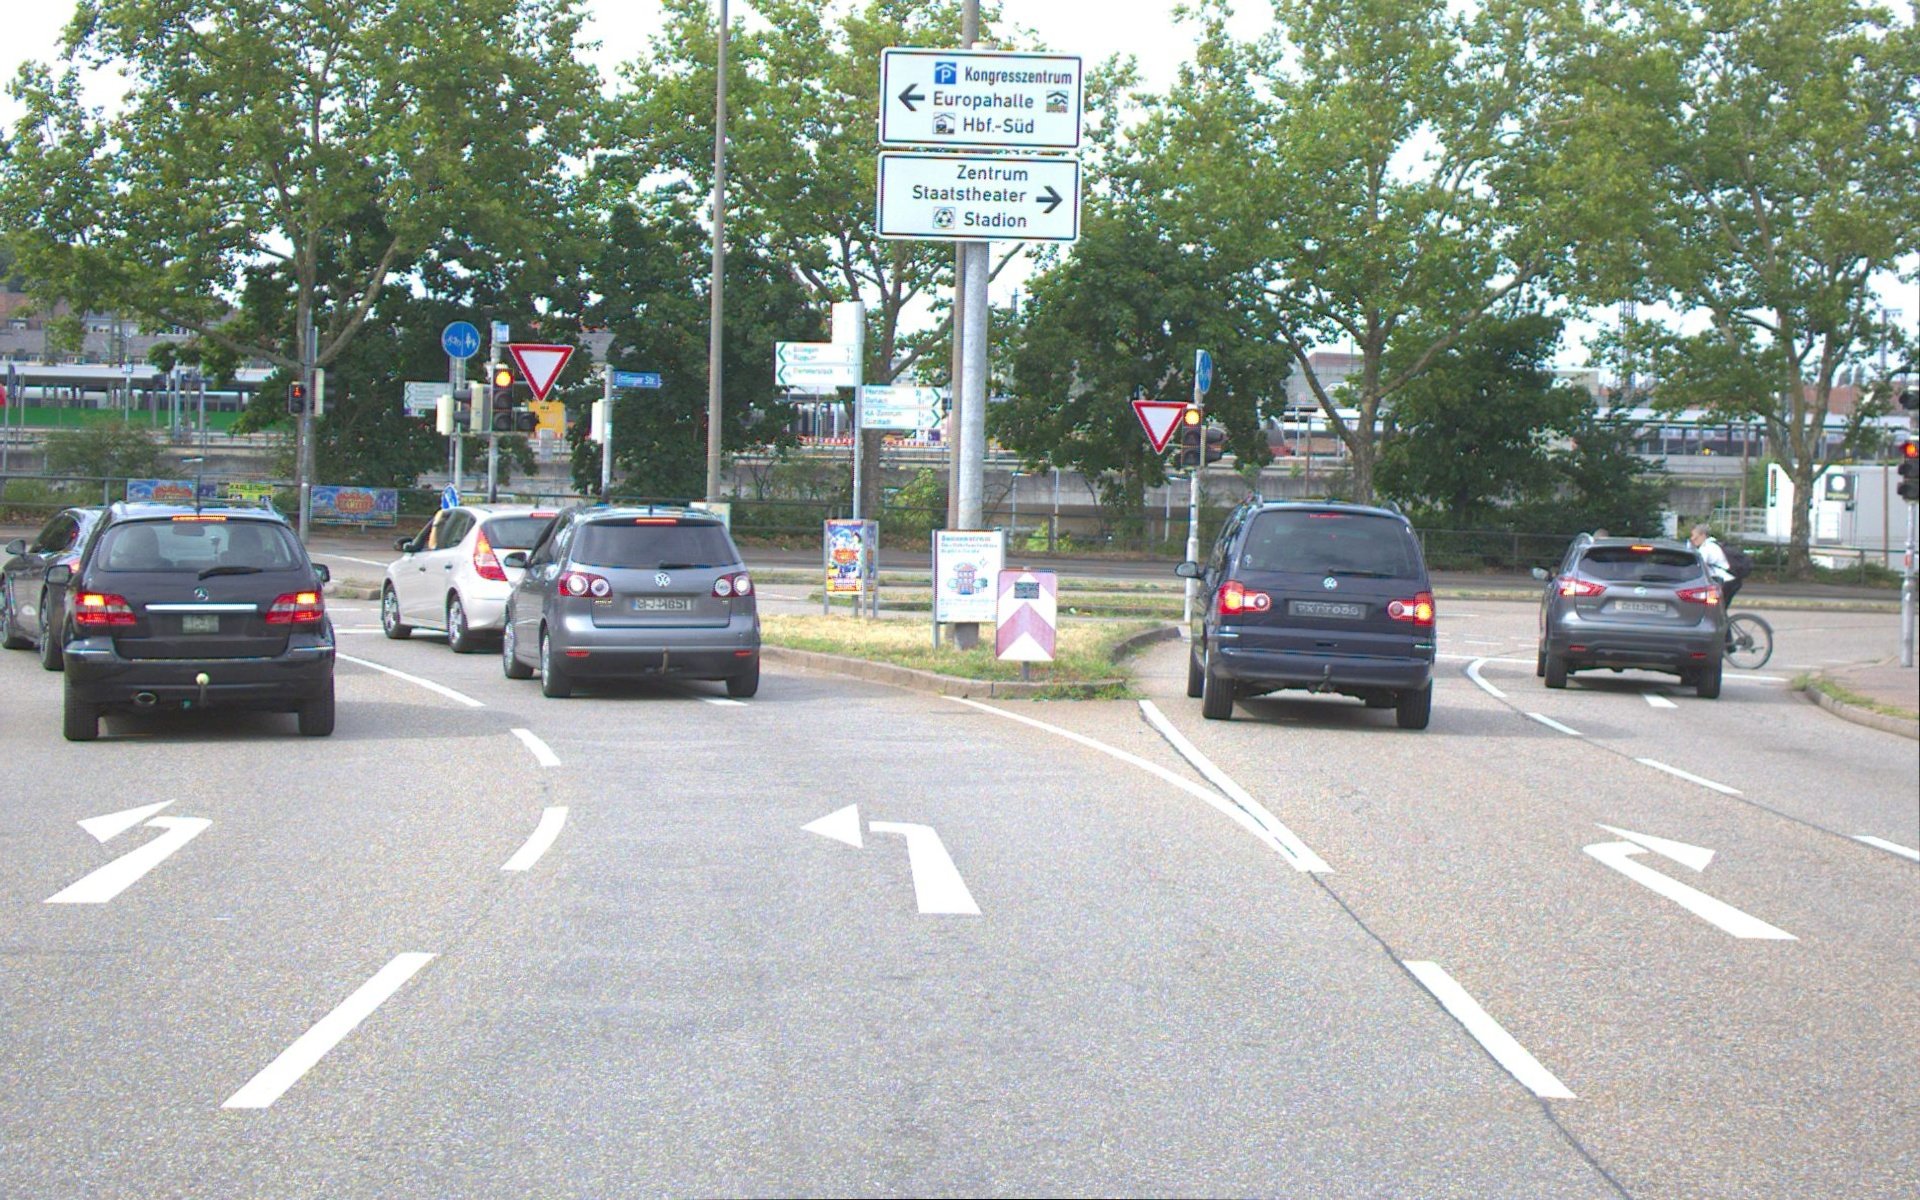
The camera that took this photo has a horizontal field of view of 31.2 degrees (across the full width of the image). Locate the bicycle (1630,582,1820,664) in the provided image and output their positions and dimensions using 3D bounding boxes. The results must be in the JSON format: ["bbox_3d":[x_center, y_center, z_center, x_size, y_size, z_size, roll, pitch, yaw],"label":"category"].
[{"bbox_3d":[9.866,0.284,44.400,2.233,0.949,0.810,3,2,35],"label":"bicycle"}]

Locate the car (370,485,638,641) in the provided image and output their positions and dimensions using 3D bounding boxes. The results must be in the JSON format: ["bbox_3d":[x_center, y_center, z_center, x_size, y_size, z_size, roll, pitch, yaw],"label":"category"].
[{"bbox_3d":[-4.774,-0.416,35.554,1.740,1.477,4.083,1,2,-22],"label":"car"}]

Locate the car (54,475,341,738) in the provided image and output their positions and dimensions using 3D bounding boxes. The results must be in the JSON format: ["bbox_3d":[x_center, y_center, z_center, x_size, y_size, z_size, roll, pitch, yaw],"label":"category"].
[{"bbox_3d":[-5.408,-0.018,24.069,1.756,1.569,4.038,2,3,-15],"label":"car"}]

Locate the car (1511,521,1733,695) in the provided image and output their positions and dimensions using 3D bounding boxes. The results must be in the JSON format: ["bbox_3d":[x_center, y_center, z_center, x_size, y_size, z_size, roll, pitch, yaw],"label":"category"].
[{"bbox_3d":[6.958,0.036,36.514,1.751,1.637,4.137,3,1,4],"label":"car"}]

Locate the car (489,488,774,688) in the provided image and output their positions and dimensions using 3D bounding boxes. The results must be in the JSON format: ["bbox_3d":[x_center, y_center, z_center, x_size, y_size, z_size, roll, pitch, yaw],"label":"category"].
[{"bbox_3d":[-2.856,-0.151,29.080,1.740,1.541,4.083,1,2,-15],"label":"car"}]

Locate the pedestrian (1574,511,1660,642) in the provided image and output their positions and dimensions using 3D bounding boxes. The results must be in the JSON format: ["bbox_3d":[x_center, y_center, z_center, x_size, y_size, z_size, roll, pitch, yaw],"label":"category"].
[{"bbox_3d":[8.880,-0.325,46.448,1.047,1.704,0.853,3,2,11],"label":"pedestrian"}]

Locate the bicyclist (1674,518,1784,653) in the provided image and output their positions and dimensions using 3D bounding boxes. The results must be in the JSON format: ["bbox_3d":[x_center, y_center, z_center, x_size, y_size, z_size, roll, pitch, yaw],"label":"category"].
[{"bbox_3d":[9.920,-0.197,44.357,1.114,1.690,0.811,3,2,34],"label":"bicyclist"}]

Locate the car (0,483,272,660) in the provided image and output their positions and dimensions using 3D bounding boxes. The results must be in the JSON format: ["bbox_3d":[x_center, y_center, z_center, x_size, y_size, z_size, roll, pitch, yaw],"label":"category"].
[{"bbox_3d":[-7.710,-0.310,31.575,1.818,1.409,4.778,1,2,-22],"label":"car"}]

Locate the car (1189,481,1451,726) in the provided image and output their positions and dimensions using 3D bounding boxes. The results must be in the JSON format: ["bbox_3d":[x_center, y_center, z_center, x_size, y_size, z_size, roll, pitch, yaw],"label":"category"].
[{"bbox_3d":[2.815,-0.021,27.624,1.750,1.719,4.138,3,1,3],"label":"car"}]
